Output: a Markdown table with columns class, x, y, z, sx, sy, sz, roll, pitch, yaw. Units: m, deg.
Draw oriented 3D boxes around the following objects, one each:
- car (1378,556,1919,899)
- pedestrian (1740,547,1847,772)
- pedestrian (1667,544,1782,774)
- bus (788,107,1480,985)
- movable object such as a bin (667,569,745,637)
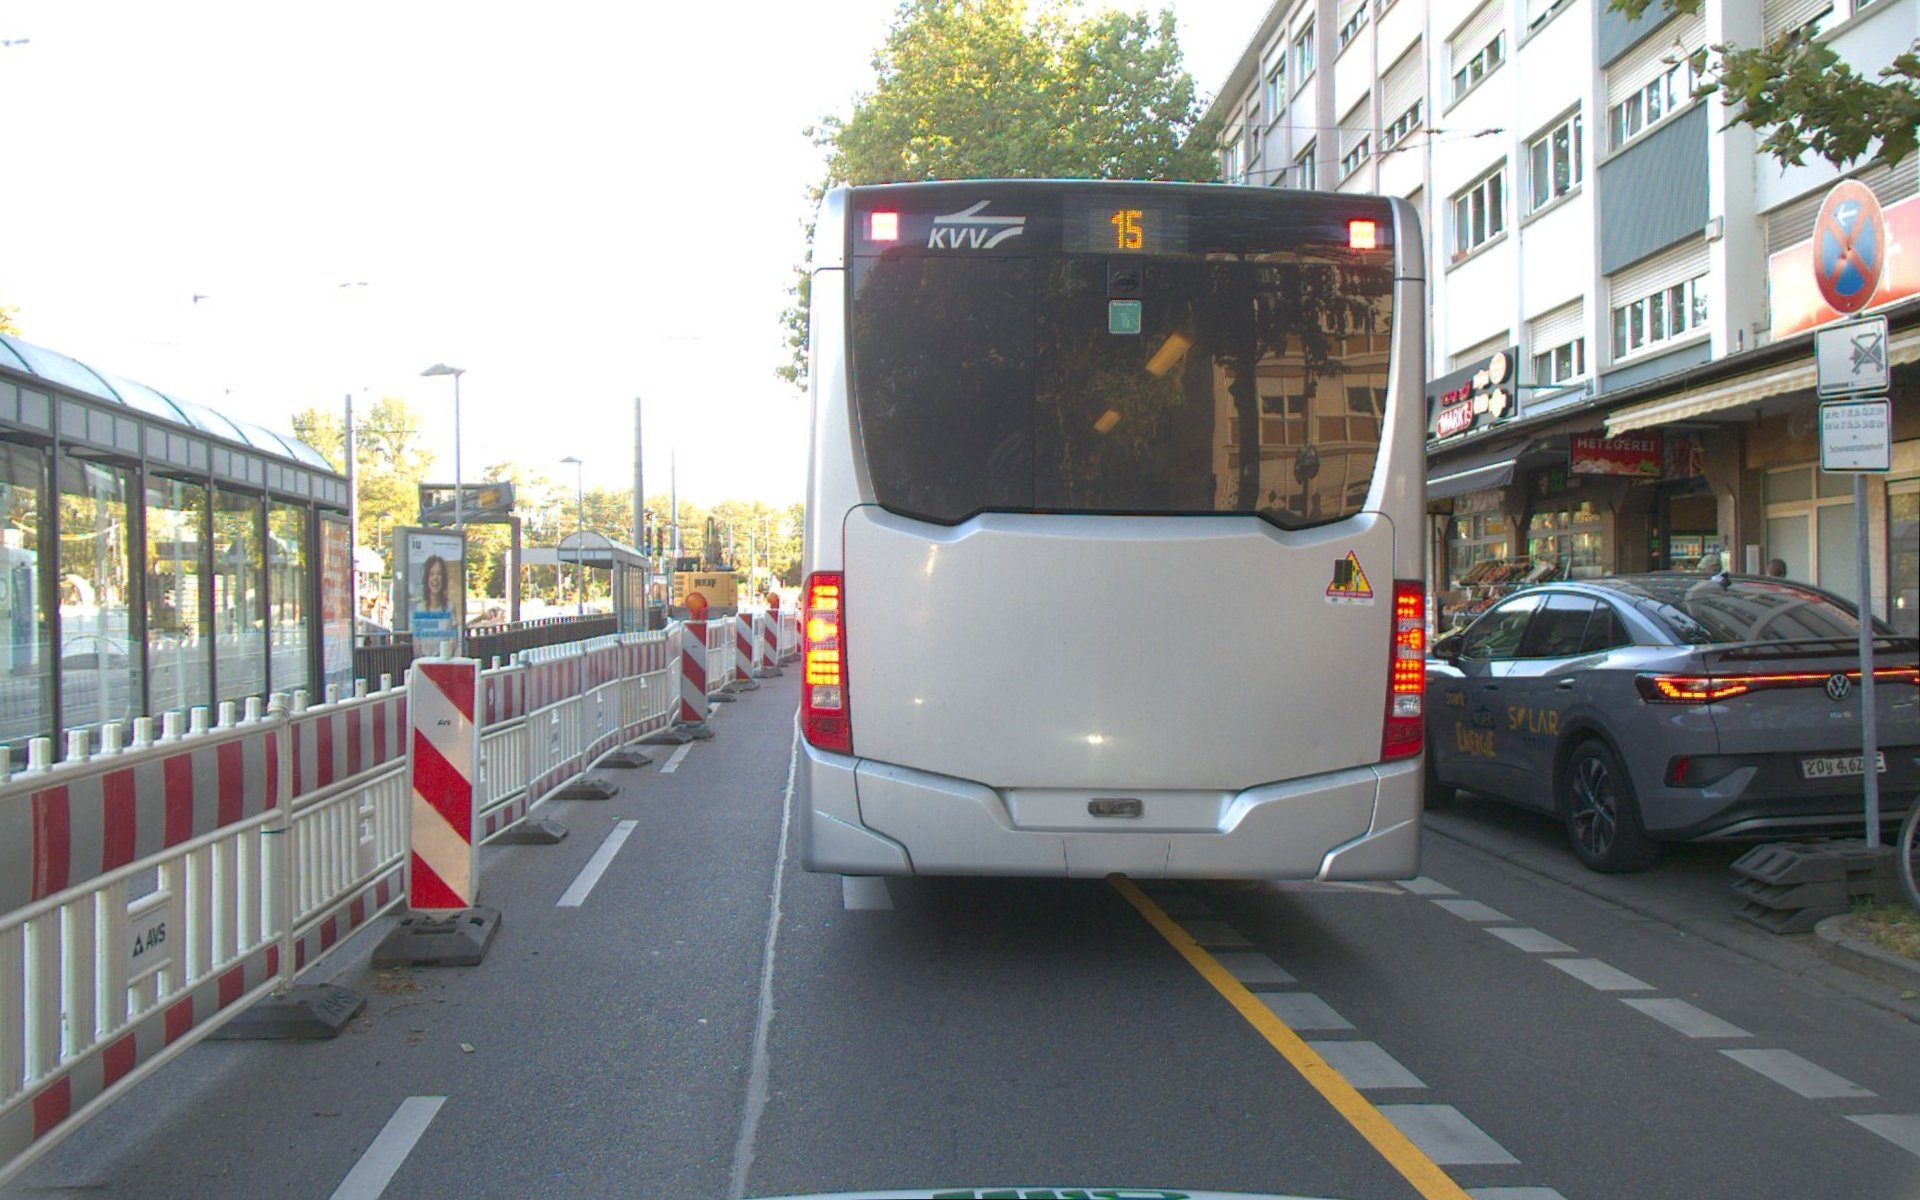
| class | x | y | z | sx | sy | sz | roll | pitch | yaw |
| --- | --- | --- | --- | --- | --- | --- | --- | --- | --- |
| car | 4.214 | 0.616 | 10.344 | 1.706 | 1.625 | 4.294 | -3 | 0 | -5 |
| pedestrian | 7.773 | 0.541 | 15.449 | 0.600 | 2.049 | 0.696 | 0 | -1 | -4 |
| pedestrian | 6.988 | 0.525 | 15.145 | 0.677 | 2.049 | 0.695 | 0 | -1 | -6 |
| bus | 0.530 | -0.175 | 11.256 | 2.555 | 3.225 | 10.288 | 0 | 0 | -1 |
| movable object such as a bin | -9.709 | 0.117 | 63.510 | 2.752 | 2.505 | 3.995 | 0 | 0 | -6 |
